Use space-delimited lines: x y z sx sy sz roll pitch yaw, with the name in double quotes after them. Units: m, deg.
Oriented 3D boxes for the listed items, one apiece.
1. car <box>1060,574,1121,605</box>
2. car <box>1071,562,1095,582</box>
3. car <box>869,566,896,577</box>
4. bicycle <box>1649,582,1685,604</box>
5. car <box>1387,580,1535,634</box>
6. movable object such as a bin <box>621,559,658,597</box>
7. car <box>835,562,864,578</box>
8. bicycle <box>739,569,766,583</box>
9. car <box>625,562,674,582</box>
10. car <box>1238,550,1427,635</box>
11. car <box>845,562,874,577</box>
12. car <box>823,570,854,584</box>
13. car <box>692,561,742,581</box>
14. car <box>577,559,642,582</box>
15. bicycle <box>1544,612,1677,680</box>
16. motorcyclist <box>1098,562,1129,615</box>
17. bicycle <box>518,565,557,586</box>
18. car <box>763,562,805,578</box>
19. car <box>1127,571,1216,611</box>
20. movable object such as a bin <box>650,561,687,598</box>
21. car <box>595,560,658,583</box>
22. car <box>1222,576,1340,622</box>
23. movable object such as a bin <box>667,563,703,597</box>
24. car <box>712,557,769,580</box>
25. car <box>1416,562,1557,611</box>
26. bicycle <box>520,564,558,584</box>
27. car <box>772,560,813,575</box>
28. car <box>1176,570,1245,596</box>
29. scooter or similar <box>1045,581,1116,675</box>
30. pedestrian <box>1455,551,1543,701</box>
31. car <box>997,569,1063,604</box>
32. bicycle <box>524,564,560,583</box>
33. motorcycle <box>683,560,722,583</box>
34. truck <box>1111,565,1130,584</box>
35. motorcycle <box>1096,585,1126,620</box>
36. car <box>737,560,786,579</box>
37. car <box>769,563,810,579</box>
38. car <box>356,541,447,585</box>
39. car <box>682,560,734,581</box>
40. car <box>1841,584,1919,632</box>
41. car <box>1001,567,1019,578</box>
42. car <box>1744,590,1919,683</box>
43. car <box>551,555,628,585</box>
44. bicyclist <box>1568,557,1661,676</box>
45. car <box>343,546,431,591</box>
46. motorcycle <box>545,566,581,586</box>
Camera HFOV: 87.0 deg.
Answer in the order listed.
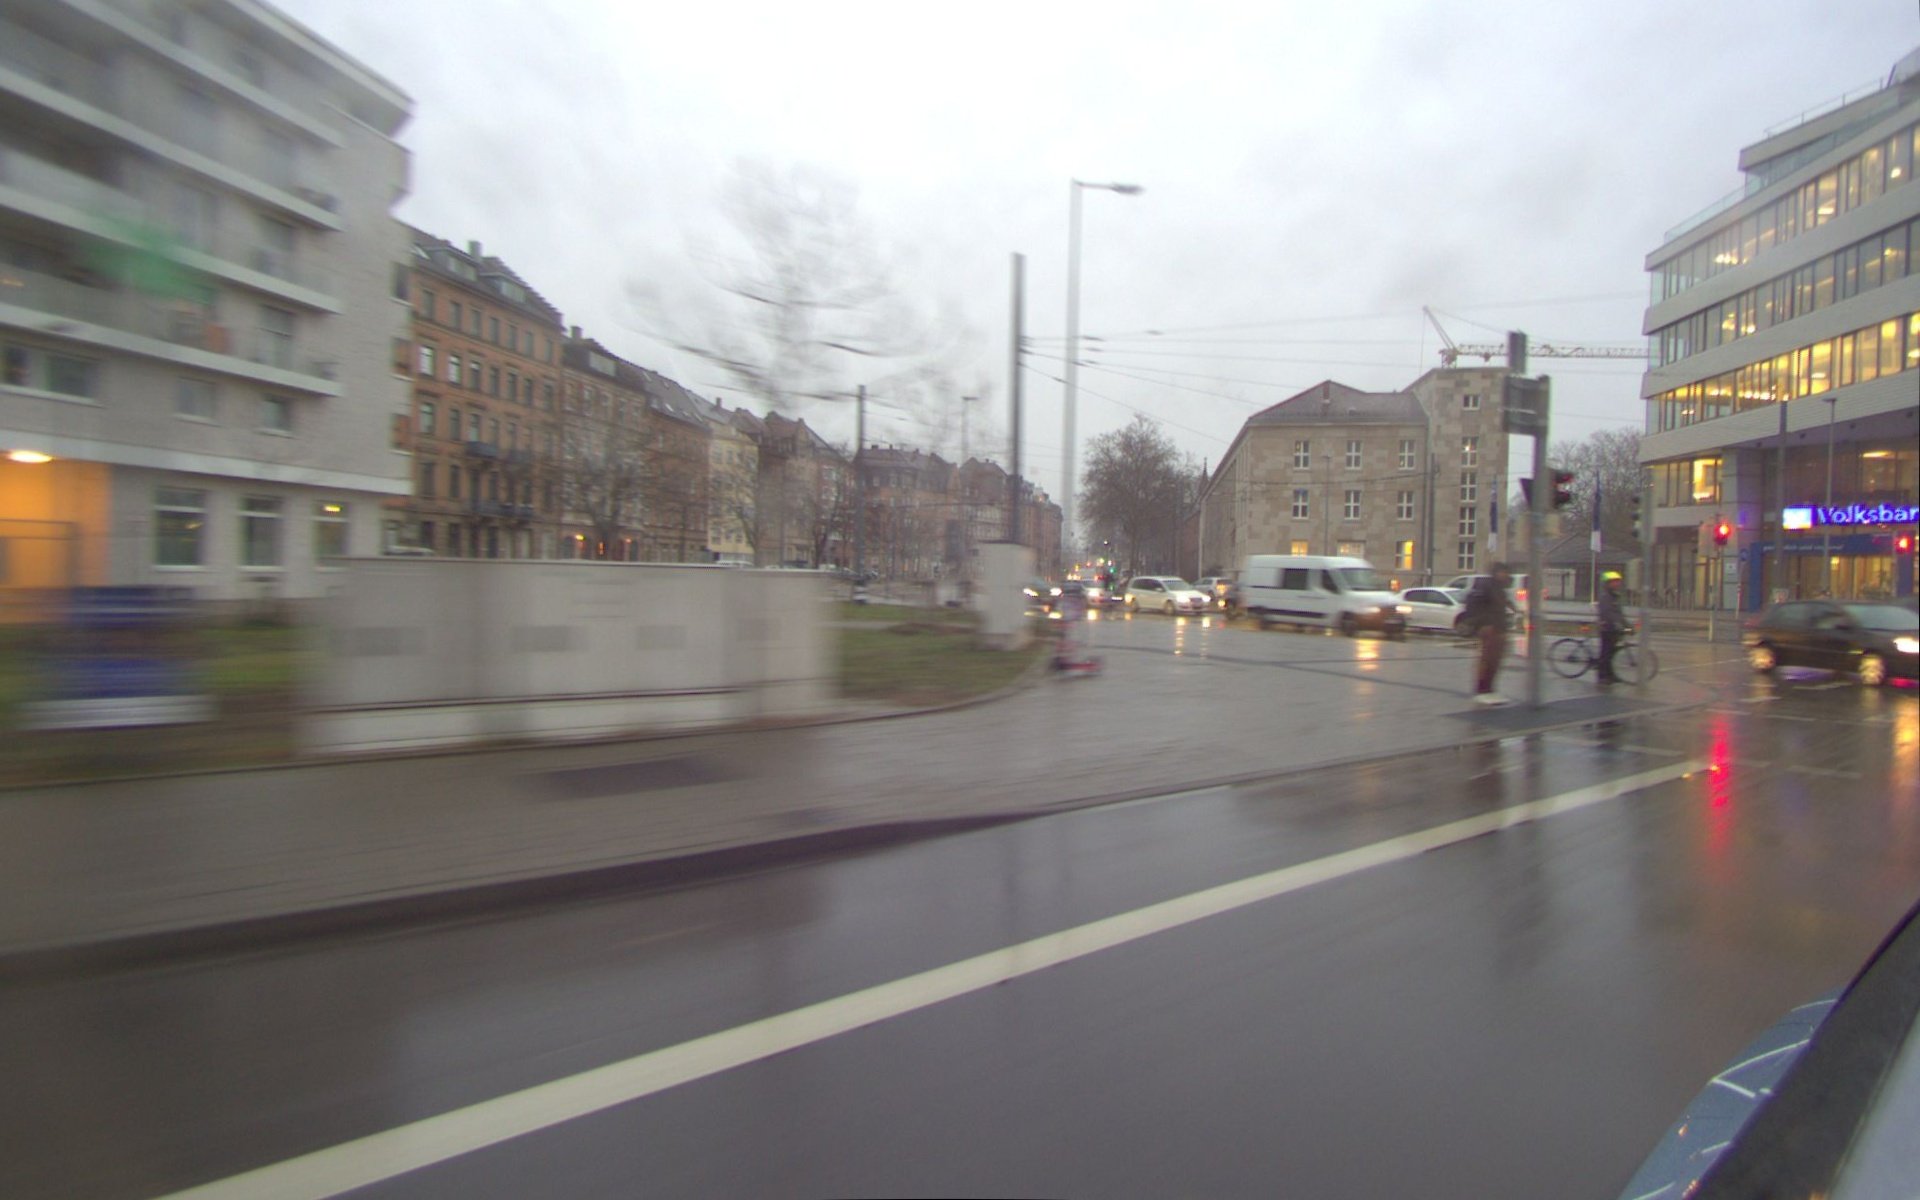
6.526 -0.575 50.925 1.655 1.448 3.355 0 2 -20 "car"
11.481 -2.662 95.013 1.870 1.894 4.961 0 2 3 "car"
-9.512 -3.466 123.770 3.121 1.299 1.384 1 2 -10 "car"
38.298 -0.385 54.812 1.475 1.141 0.526 1 1 13 "bicycle"
15.692 0.162 31.891 1.728 1.481 3.923 -2 3 -29 "car"
-13.773 -0.951 43.529 1.038 1.595 1.135 1 1 16 "movable object such as a bin"
-12.183 -3.304 111.533 3.120 1.644 1.431 1 1 -11 "car"
-14.509 -1.681 70.822 1.766 0.943 0.445 3 1 9 "bicycle"
-21.544 -1.953 70.169 3.231 1.322 1.525 1 2 -19 "car"
11.775 -0.341 32.493 2.197 2.493 5.680 -1 2 -27 "car"
-11.638 -3.493 116.940 3.120 1.644 1.449 1 1 -11 "car"
-12.993 -2.445 108.291 3.120 1.446 1.431 1 2 -11 "car"
-18.685 -2.235 77.866 3.610 1.454 1.525 1 2 -19 "car"
-20.860 -1.749 60.193 3.611 1.322 1.746 0 2 -21 "car"
10.824 0.737 16.928 0.643 0.985 1.871 1 2 -18 "bicycle"
5.586 -0.431 36.962 0.868 1.905 0.923 1 1 -6 "motorcyclist"
-21.608 -1.249 51.787 1.758 0.943 0.447 3 1 -14 "bicycle"
-15.590 -2.661 89.727 3.538 1.387 1.621 1 2 -15 "car"
9.306 -0.423 44.819 1.642 1.619 4.231 0 2 -25 "car"
-12.443 -0.884 43.195 1.038 1.529 1.247 1 1 16 "movable object such as a bin"
-20.657 -1.768 62.694 3.611 1.322 1.672 0 2 -21 "car"
12.201 -0.090 38.727 1.789 1.589 4.370 0 2 -25 "car"
-12.151 -0.883 44.694 1.038 1.450 1.219 1 1 16 "movable object such as a bin"
-17.554 -2.519 80.950 4.254 1.790 1.785 0 2 -20 "car"
24.101 -0.680 46.586 1.913 2.084 5.672 0 2 -26 "car"
-21.746 -1.327 52.309 1.758 0.943 0.447 3 1 -14 "bicycle"
-15.698 -3.067 94.952 3.538 1.387 1.621 0 2 -21 "car"
15.970 -1.107 64.747 1.828 1.504 4.349 0 2 -27 "car"
1.670 0.356 13.890 0.332 1.221 1.291 2 2 38 "scooter or similar"
7.041 0.325 13.239 0.761 1.901 0.635 1 1 2 "pedestrian"
3.410 -0.709 49.822 1.863 1.619 4.016 1 2 -18 "car"
-22.808 -1.472 55.241 1.758 0.943 0.447 3 1 -14 "bicycle"
-16.800 -1.855 66.027 2.311 1.362 0.886 4 2 -5 "motorcycle"
18.218 -2.880 114.797 1.811 2.069 3.986 1 2 13 "truck"
5.512 0.083 37.087 0.474 1.198 2.413 1 2 -6 "motorcycle"
-16.437 -2.518 83.770 3.881 1.462 1.705 1 2 -14 "car"
-15.529 -2.659 92.217 3.538 1.387 1.621 1 2 -15 "car"
-30.125 -1.984 54.769 1.967 2.216 4.652 1 2 8 "car"
-18.703 -2.191 75.123 3.610 1.417 1.525 1 2 -19 "car"
30.738 0.272 31.729 1.595 1.462 4.434 0 2 -22 "car"
6.592 -3.632 133.085 1.726 1.387 3.602 1 2 12 "car"
16.376 0.582 18.101 1.692 1.405 3.823 0 2 0 "car"
-21.096 -1.707 57.709 4.069 1.589 1.746 0 2 -21 "car"
10.901 0.255 16.879 0.776 1.914 0.991 1 1 -18 "bicyclist"
-26.489 -1.469 46.732 4.573 1.966 1.917 3 2 37 "car"
-21.145 -1.281 53.925 1.757 0.943 0.514 2 1 -19 "motorcycle"
